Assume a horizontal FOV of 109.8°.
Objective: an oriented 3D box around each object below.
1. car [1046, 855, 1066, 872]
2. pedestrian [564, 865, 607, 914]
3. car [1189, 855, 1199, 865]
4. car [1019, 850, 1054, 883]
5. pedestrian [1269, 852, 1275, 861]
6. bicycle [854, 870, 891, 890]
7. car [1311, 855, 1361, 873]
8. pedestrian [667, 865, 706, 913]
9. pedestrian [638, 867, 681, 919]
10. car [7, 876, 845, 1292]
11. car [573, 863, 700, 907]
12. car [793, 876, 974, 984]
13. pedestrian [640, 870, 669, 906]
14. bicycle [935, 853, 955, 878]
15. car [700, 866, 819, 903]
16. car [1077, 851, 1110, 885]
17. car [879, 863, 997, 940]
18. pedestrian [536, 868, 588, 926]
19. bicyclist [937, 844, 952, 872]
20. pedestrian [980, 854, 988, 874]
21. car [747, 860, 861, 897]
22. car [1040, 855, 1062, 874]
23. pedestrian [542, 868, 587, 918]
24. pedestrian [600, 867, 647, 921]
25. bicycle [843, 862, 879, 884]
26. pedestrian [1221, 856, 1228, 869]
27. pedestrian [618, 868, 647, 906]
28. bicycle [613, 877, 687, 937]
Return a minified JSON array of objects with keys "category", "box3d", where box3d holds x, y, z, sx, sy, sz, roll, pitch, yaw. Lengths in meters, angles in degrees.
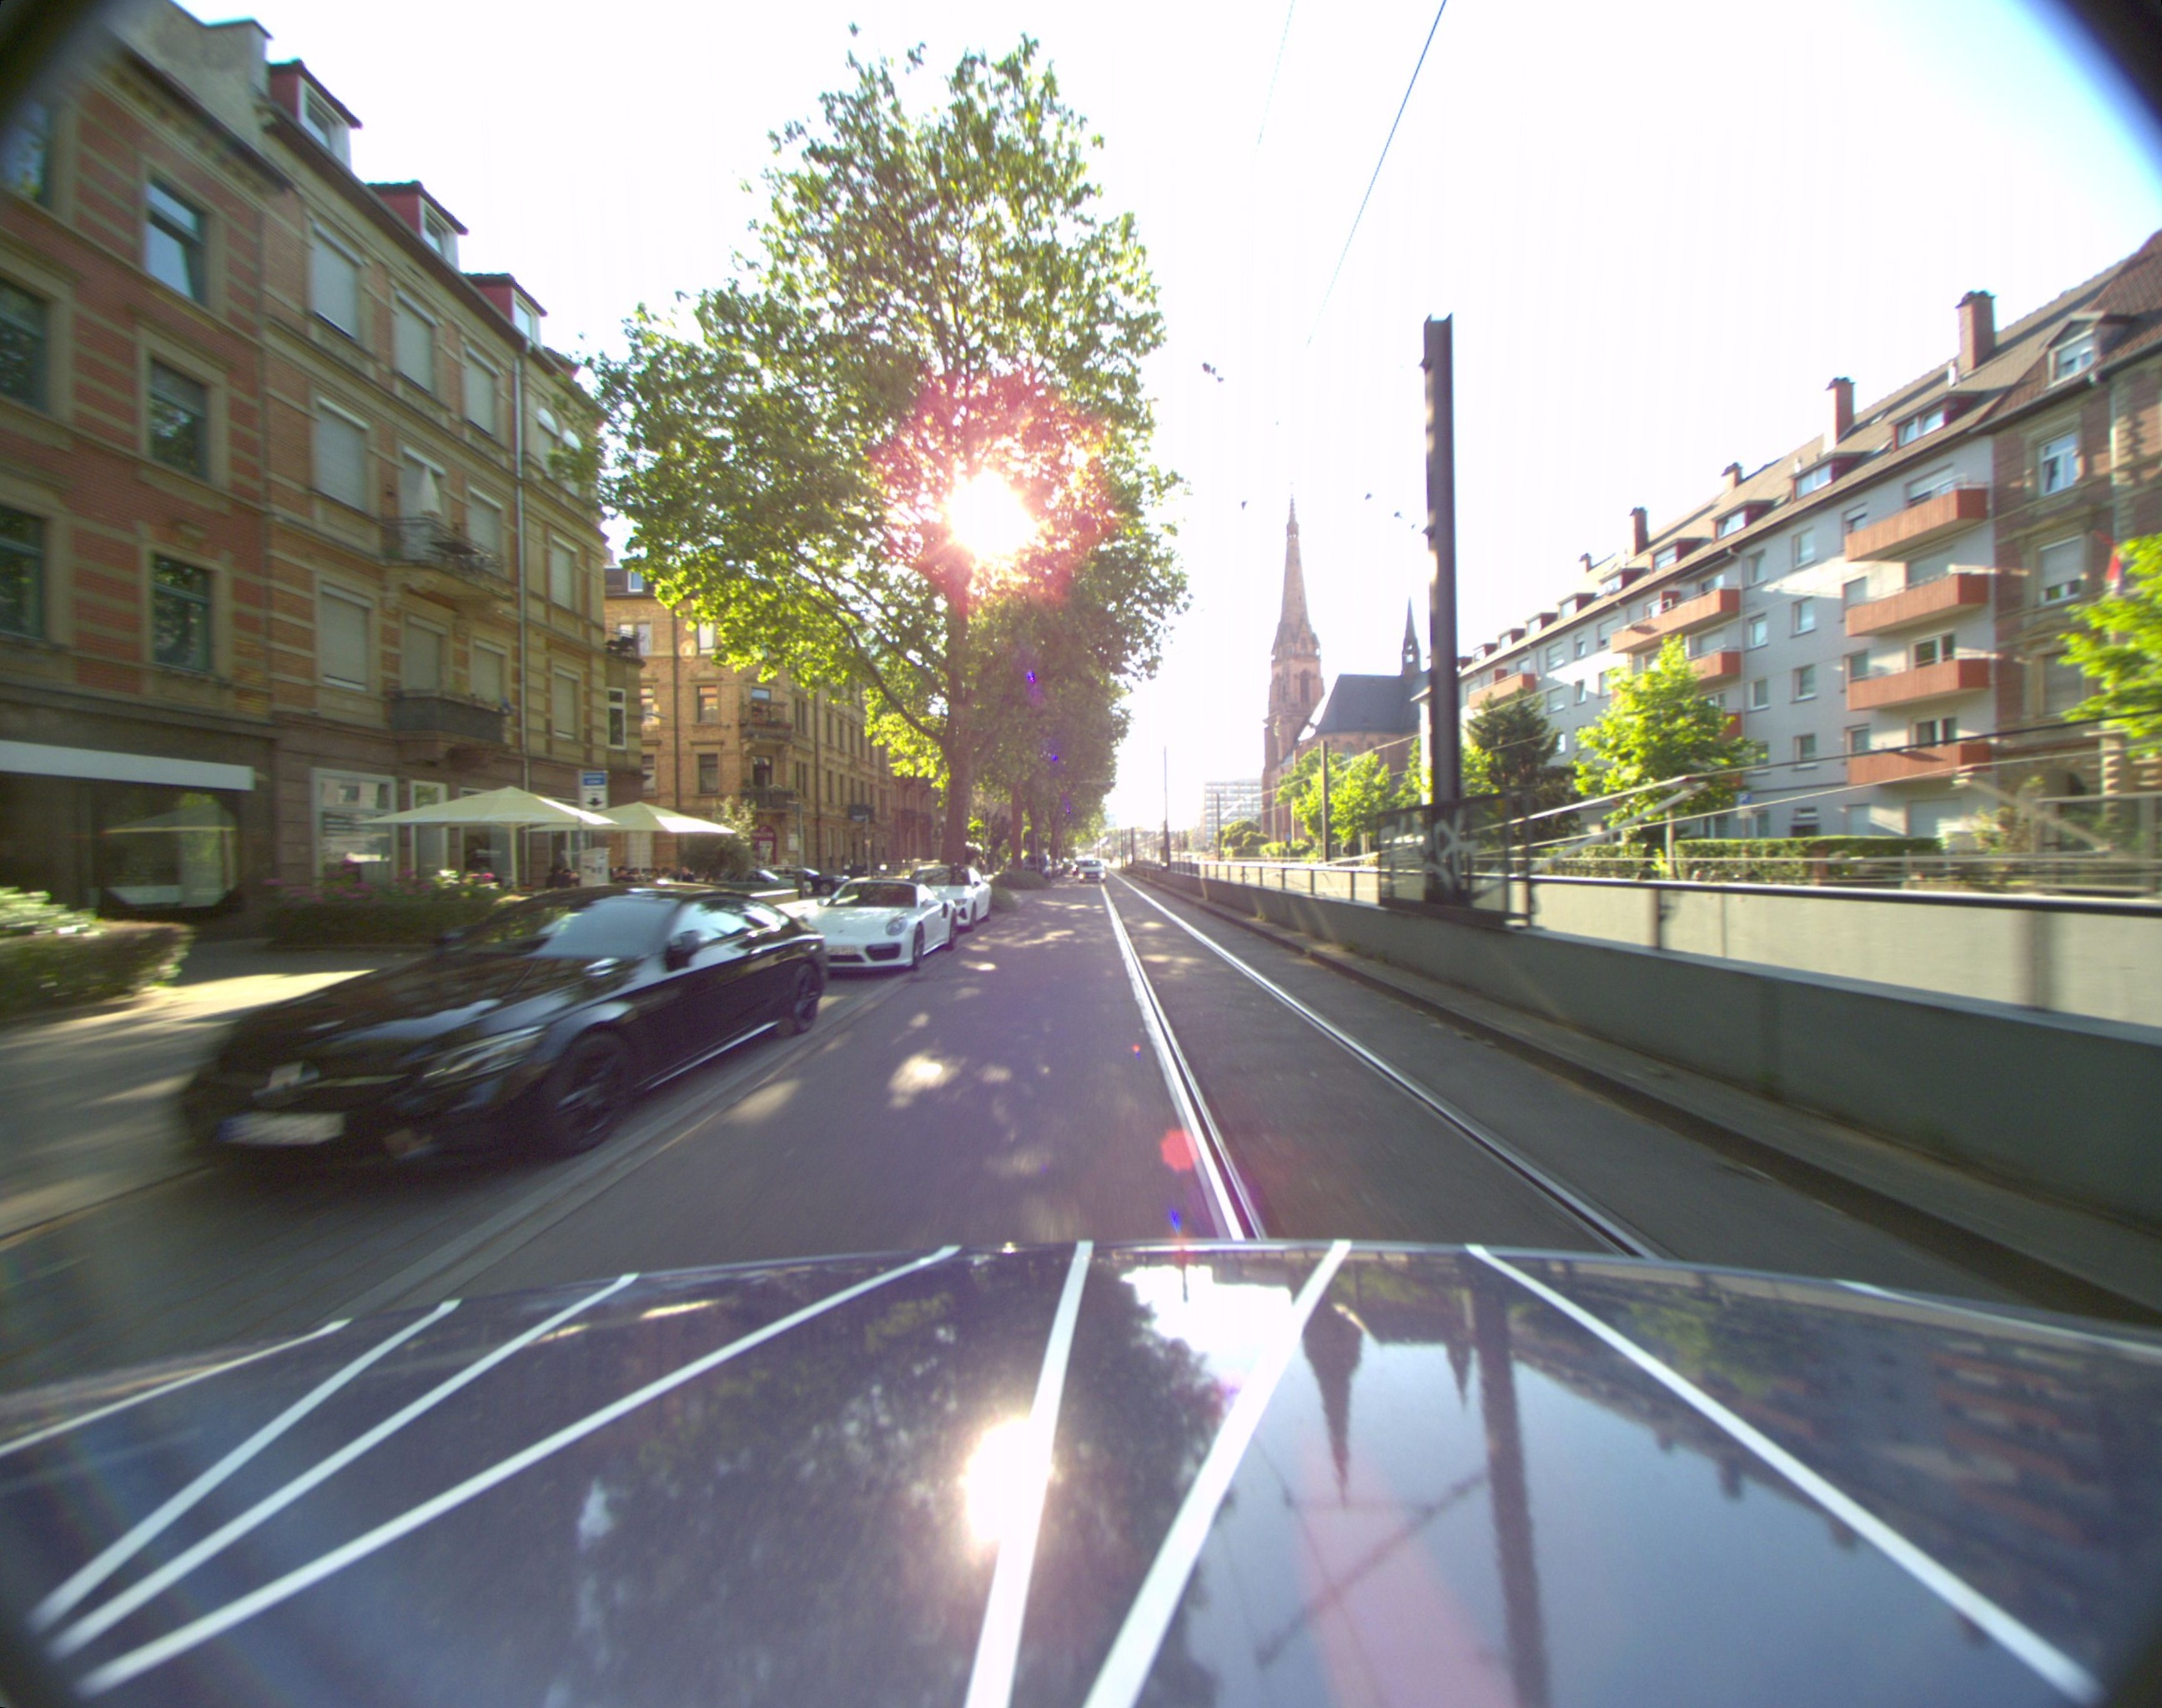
[{"category":"car","box3d":[-2.326,0.877,72.101,1.719,1.454,3.999,-1,1,0]},{"category":"pedestrian","box3d":[-13.659,0.973,20.961,0.714,1.292,0.662,-1,1,0]},{"category":"car","box3d":[24.497,1.325,165.058,1.997,2.002,5.016,1,1,10]},{"category":"car","box3d":[-2.868,0.791,49.811,1.999,2.002,5.202,-1,0,0]},{"category":"pedestrian","box3d":[30.425,0.369,121.328,0.587,1.480,0.946,-4,0,-2]},{"category":"bicycle","box3d":[-10.225,1.261,37.295,1.696,0.911,0.602,-1,1,-10]},{"category":"car","box3d":[26.122,1.026,78.024,4.404,1.495,1.977,-4,0,1]},{"category":"pedestrian","box3d":[-10.940,0.955,21.089,0.714,1.292,0.662,-1,1,0]},{"category":"pedestrian","box3d":[-11.020,1.011,19.873,0.714,1.292,0.662,-1,1,0]},{"category":"car","box3d":[-3.431,1.018,5.503,1.736,1.527,4.805,-1,0,2]},{"category":"car","box3d":[-17.562,1.205,30.156,3.905,1.637,1.893,-1,0,3]},{"category":"car","box3d":[-3.007,1.106,12.481,1.834,1.319,4.000,-1,0,1]},{"category":"pedestrian","box3d":[-13.186,1.047,23.498,0.557,1.095,0.526,-1,1,0]},{"category":"bicycle","box3d":[-6.648,0.576,37.236,0.562,1.171,2.226,-3,-1,-1]},{"category":"car","box3d":[-12.809,1.196,30.414,3.998,1.356,1.743,-1,-1,-2]},{"category":"car","box3d":[0.811,0.844,47.265,1.823,1.730,3.998,-2,4,3]},{"category":"car","box3d":[-3.152,0.988,17.705,1.807,1.469,4.646,-1,0,0]},{"category":"pedestrian","box3d":[-12.136,0.990,17.777,0.714,1.292,0.663,-1,1,2]},{"category":"bicyclist","box3d":[-6.670,0.203,37.245,0.544,1.372,0.644,-3,-1,-1]},{"category":"pedestrian","box3d":[-7.762,0.801,61.103,0.531,1.618,0.618,1,-1,1]},{"category":"car","box3d":[-12.925,1.130,35.634,4.615,1.539,1.922,-2,0,-4]},{"category":"car","box3d":[-2.571,0.930,66.254,1.718,1.540,4.500,0,1,1]},{"category":"pedestrian","box3d":[-13.715,1.025,20.187,0.662,1.292,0.715,-1,1,0]},{"category":"pedestrian","box3d":[-11.391,0.985,18.944,0.714,1.292,0.663,-1,1,1]},{"category":"bicycle","box3d":[-12.401,1.074,42.887,1.866,1.147,0.476,-1,1,4]},{"category":"pedestrian","box3d":[18.266,1.044,96.459,0.494,1.663,0.754,-4,0,-14]},{"category":"pedestrian","box3d":[-13.863,1.018,23.505,0.557,1.131,0.526,-1,1,0]},{"category":"bicycle","box3d":[-9.159,1.098,16.226,0.476,1.137,1.896,1,0,1]}]
